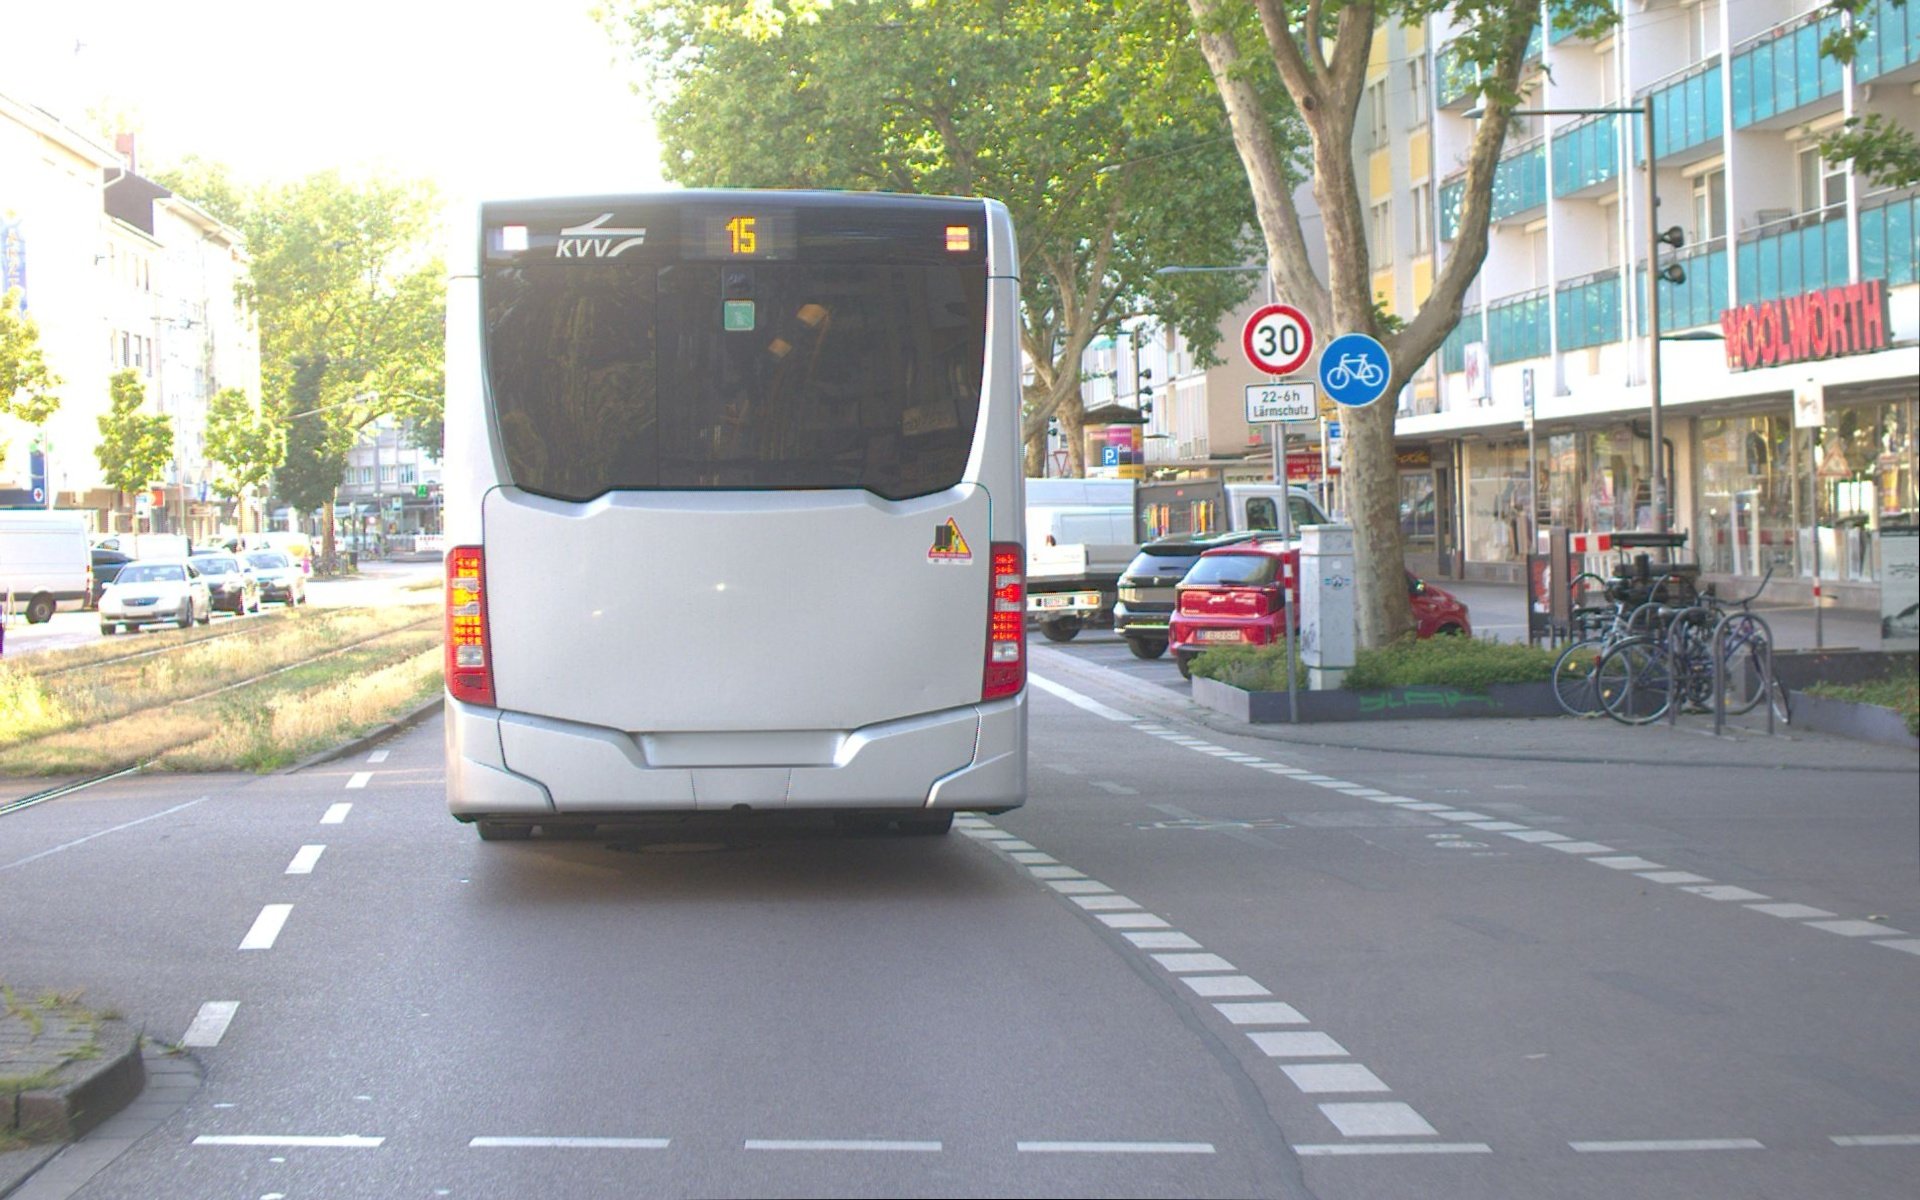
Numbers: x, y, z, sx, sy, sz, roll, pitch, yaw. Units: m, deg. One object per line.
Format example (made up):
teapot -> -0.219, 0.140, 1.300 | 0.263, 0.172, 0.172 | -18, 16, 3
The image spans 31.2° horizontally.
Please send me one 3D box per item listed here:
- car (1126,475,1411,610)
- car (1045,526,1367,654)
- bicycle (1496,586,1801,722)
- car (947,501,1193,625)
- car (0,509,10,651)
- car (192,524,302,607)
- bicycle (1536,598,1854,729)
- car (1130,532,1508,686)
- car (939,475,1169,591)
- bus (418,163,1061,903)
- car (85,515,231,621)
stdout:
car -> 4.678, -0.877, 51.870 | 3.988, 1.963, 1.999 | -2, 1, -39
car -> 3.184, -0.146, 43.991 | 1.998, 1.525, 3.990 | -1, 1, 44
bicycle -> 5.667, 0.432, 28.369 | 2.309, 1.025, 0.837 | -1, 2, -6
car -> 1.847, -0.620, 56.871 | 1.998, 1.963, 3.991 | -1, 1, 40
car -> -14.523, -0.248, 47.046 | 1.993, 2.007, 4.000 | -1, 1, -1
car -> -17.949, -0.866, 86.731 | 1.993, 2.007, 4.000 | -1, 1, -1
bicycle -> 5.812, 0.495, 27.238 | 2.309, 0.936, 0.837 | -1, 2, -6
car -> 3.914, 0.067, 37.069 | 1.998, 1.525, 3.990 | -1, 1, 44
car -> 1.699, -1.196, 61.004 | 1.998, 1.963, 3.991 | -1, 1, 40
bus -> -1.176, -0.346, 17.913 | 2.677, 3.073, 7.115 | 0, 1, -4
car -> -15.806, -0.637, 67.916 | 1.993, 2.007, 4.000 | -1, 1, -1
